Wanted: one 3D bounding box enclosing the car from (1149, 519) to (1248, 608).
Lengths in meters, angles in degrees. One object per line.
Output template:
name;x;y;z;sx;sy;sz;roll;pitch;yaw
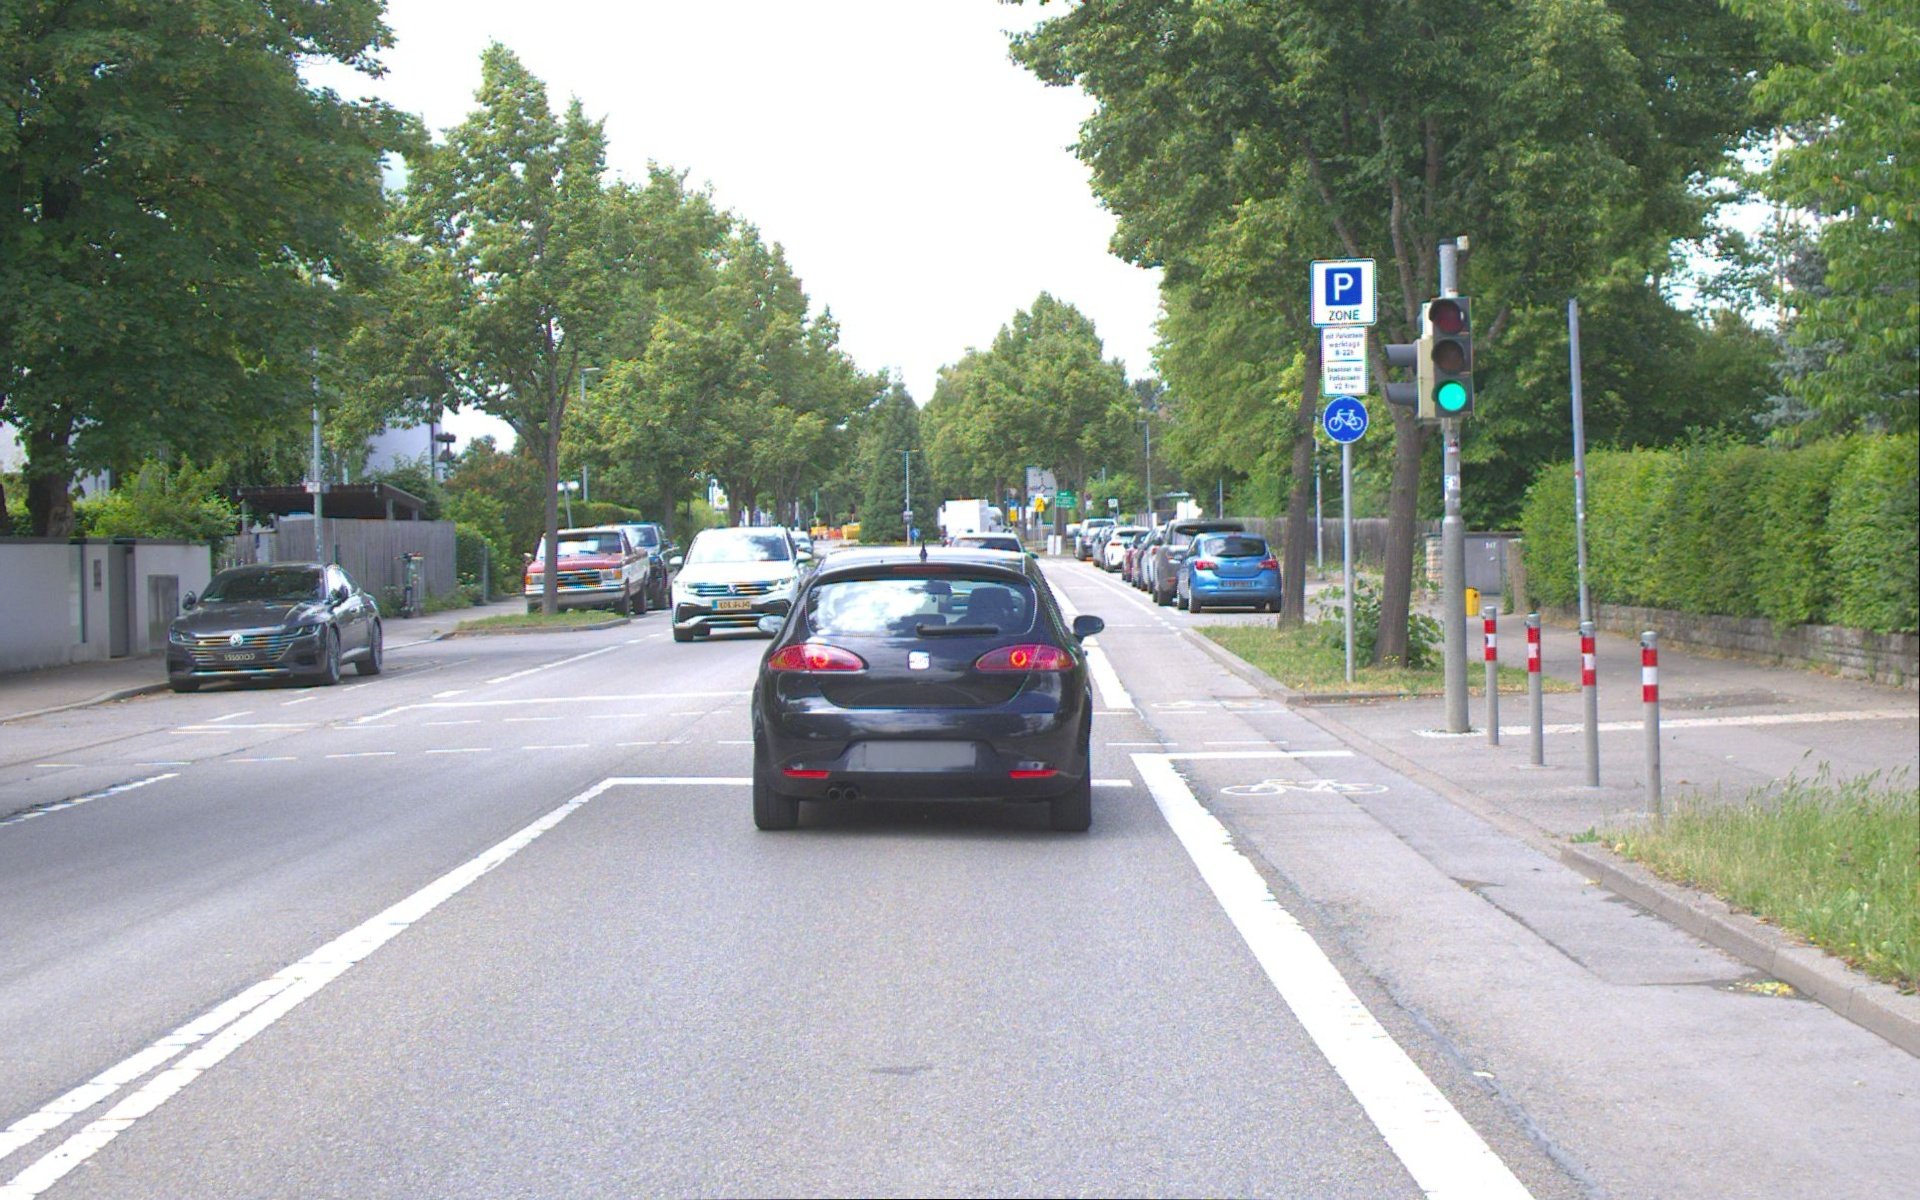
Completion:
car;4.748;-0.750;68.976;1.688;1.705;4.214;-1;1;0

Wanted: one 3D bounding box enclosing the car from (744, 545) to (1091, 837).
car;-0.241;0.419;18.605;1.662;1.396;3.812;1;1;-1

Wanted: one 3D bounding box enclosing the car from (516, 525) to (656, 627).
car;-7.512;-0.522;69.514;2.100;1.890;5.784;-3;1;0

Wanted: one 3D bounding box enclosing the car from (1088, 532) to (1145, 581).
car;5.090;-1.426;112.237;1.688;1.559;4.214;-1;1;0

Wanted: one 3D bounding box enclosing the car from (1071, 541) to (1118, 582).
car;5.320;-1.531;136.522;1.688;1.559;4.214;-1;1;0

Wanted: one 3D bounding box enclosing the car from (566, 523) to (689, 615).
car;-7.389;-0.718;76.940;2.100;1.890;5.784;-3;1;0

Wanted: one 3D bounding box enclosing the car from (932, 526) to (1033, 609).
car;0.418;-0.626;65.677;1.846;1.504;3.812;1;1;0

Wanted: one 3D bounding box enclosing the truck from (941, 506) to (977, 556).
truck;-0.080;-4.489;224.925;2.279;3.093;8.511;1;1;0

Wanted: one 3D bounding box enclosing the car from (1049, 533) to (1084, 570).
car;5.546;-2.531;179.552;1.688;1.869;4.214;-1;1;0

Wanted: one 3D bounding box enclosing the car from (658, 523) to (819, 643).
car;-3.232;-0.280;51.004;1.875;1.629;4.340;-2;1;2

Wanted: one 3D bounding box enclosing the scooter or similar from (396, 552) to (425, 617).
scooter or similar;-10.564;-0.299;66.099;0.387;1.225;1.499;-1;1;-4

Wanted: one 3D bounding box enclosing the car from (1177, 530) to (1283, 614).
car;4.979;-0.537;63.683;1.688;1.485;3.355;-1;1;0

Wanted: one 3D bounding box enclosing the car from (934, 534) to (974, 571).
car;-0.285;-2.271;163.896;1.881;1.683;4.214;-1;1;0

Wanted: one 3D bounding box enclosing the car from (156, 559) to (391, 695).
car;-7.951;0.268;40.229;1.718;1.390;4.801;-3;1;0
